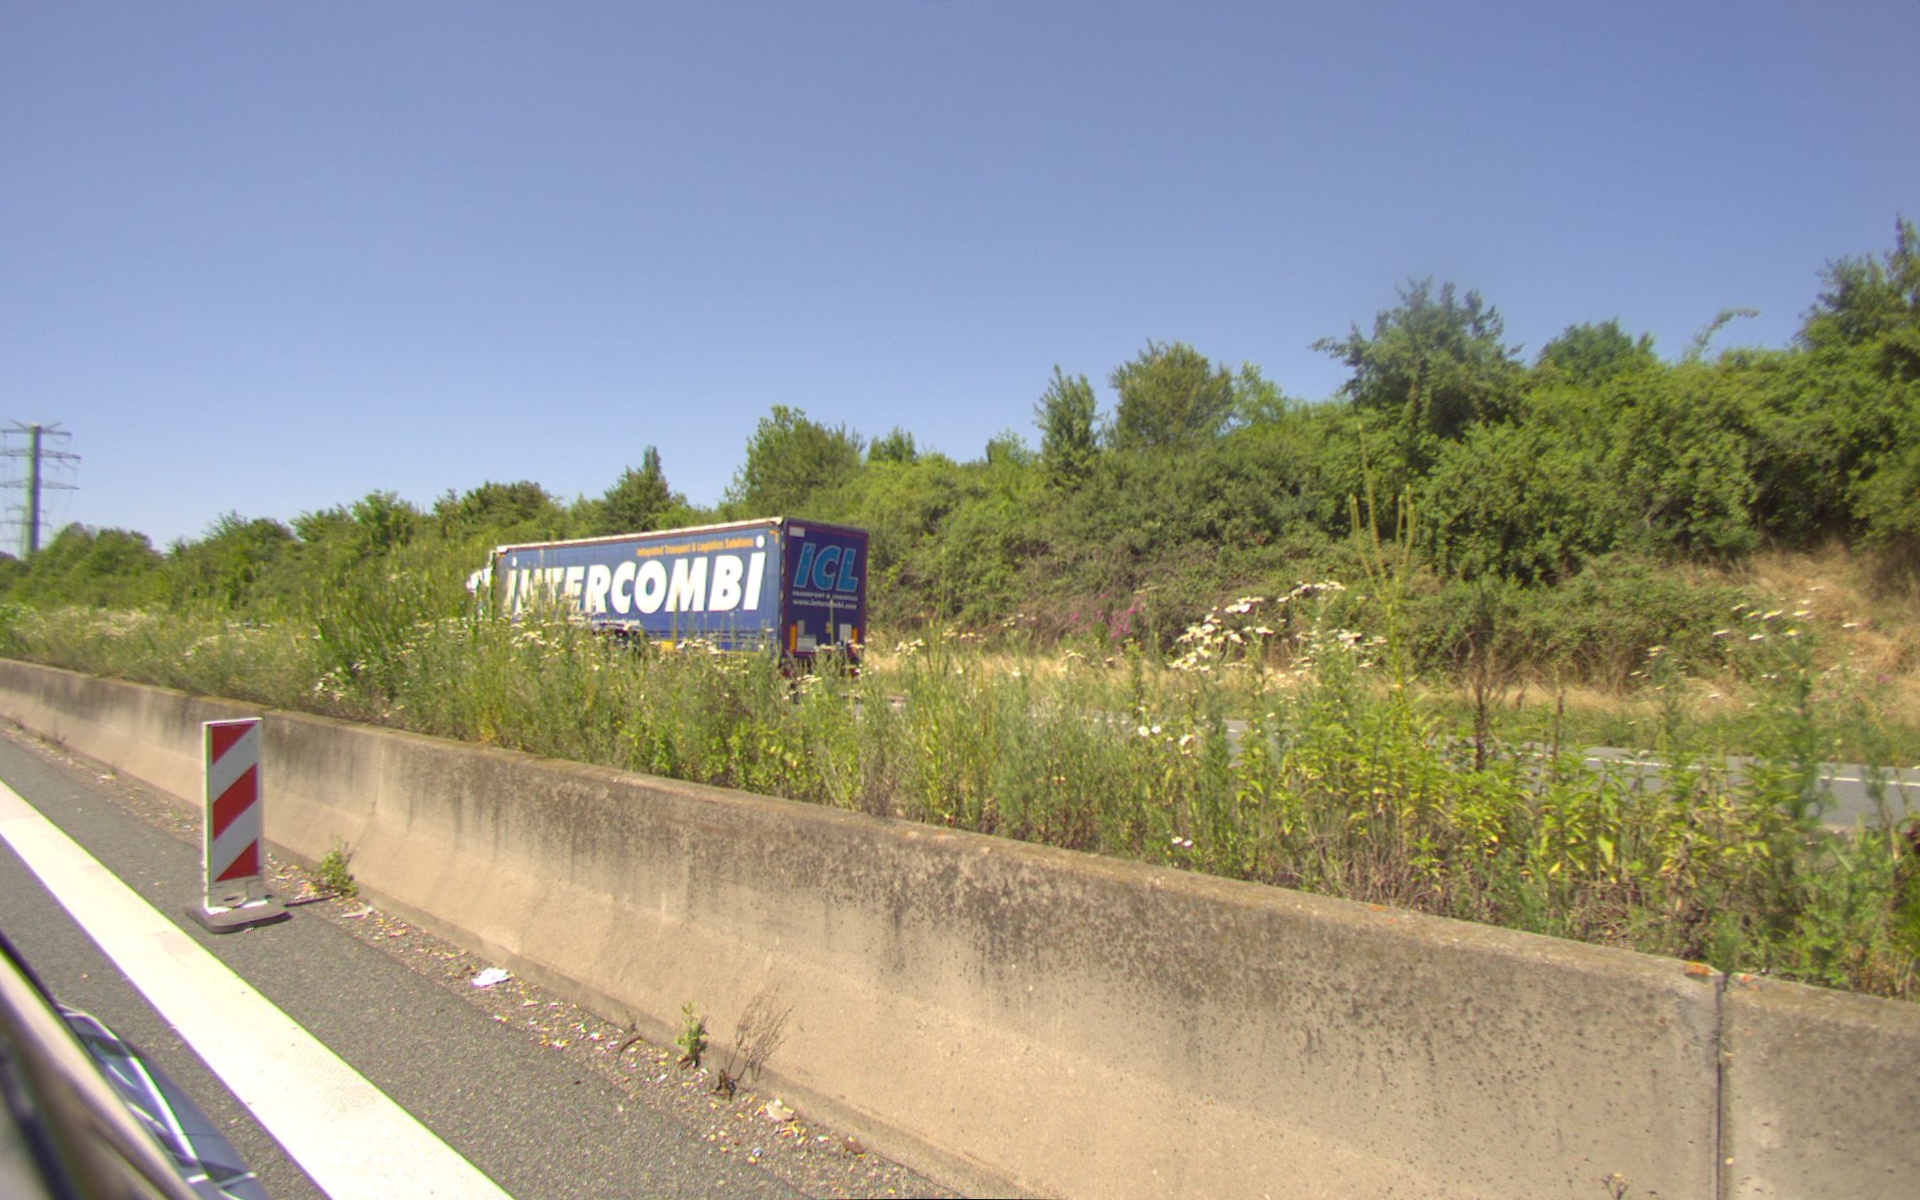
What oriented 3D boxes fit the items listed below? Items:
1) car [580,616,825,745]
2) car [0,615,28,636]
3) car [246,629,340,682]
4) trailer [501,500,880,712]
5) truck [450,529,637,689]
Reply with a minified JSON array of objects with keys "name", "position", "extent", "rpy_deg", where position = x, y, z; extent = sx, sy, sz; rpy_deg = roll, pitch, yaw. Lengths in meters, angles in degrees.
[{"name":"car","position":[-3.461,0.972,13.347],"extent":[3.361,1.476,1.495],"rpy_deg":[-1,-2,41]},{"name":"car","position":[-68.822,1.872,73.309],"extent":[3.361,1.476,1.495],"rpy_deg":[-1,-2,41]},{"name":"car","position":[-20.017,1.616,30.327],"extent":[3.361,1.476,1.495],"rpy_deg":[-1,-2,41]},{"name":"trailer","position":[-7.677,0.177,26.572],"extent":[12.900,4.437,2.929],"rpy_deg":[-1,0,41]},{"name":"truck","position":[-12.901,0.262,31.169],"extent":[6.072,4.425,2.914],"rpy_deg":[-1,0,41]}]
